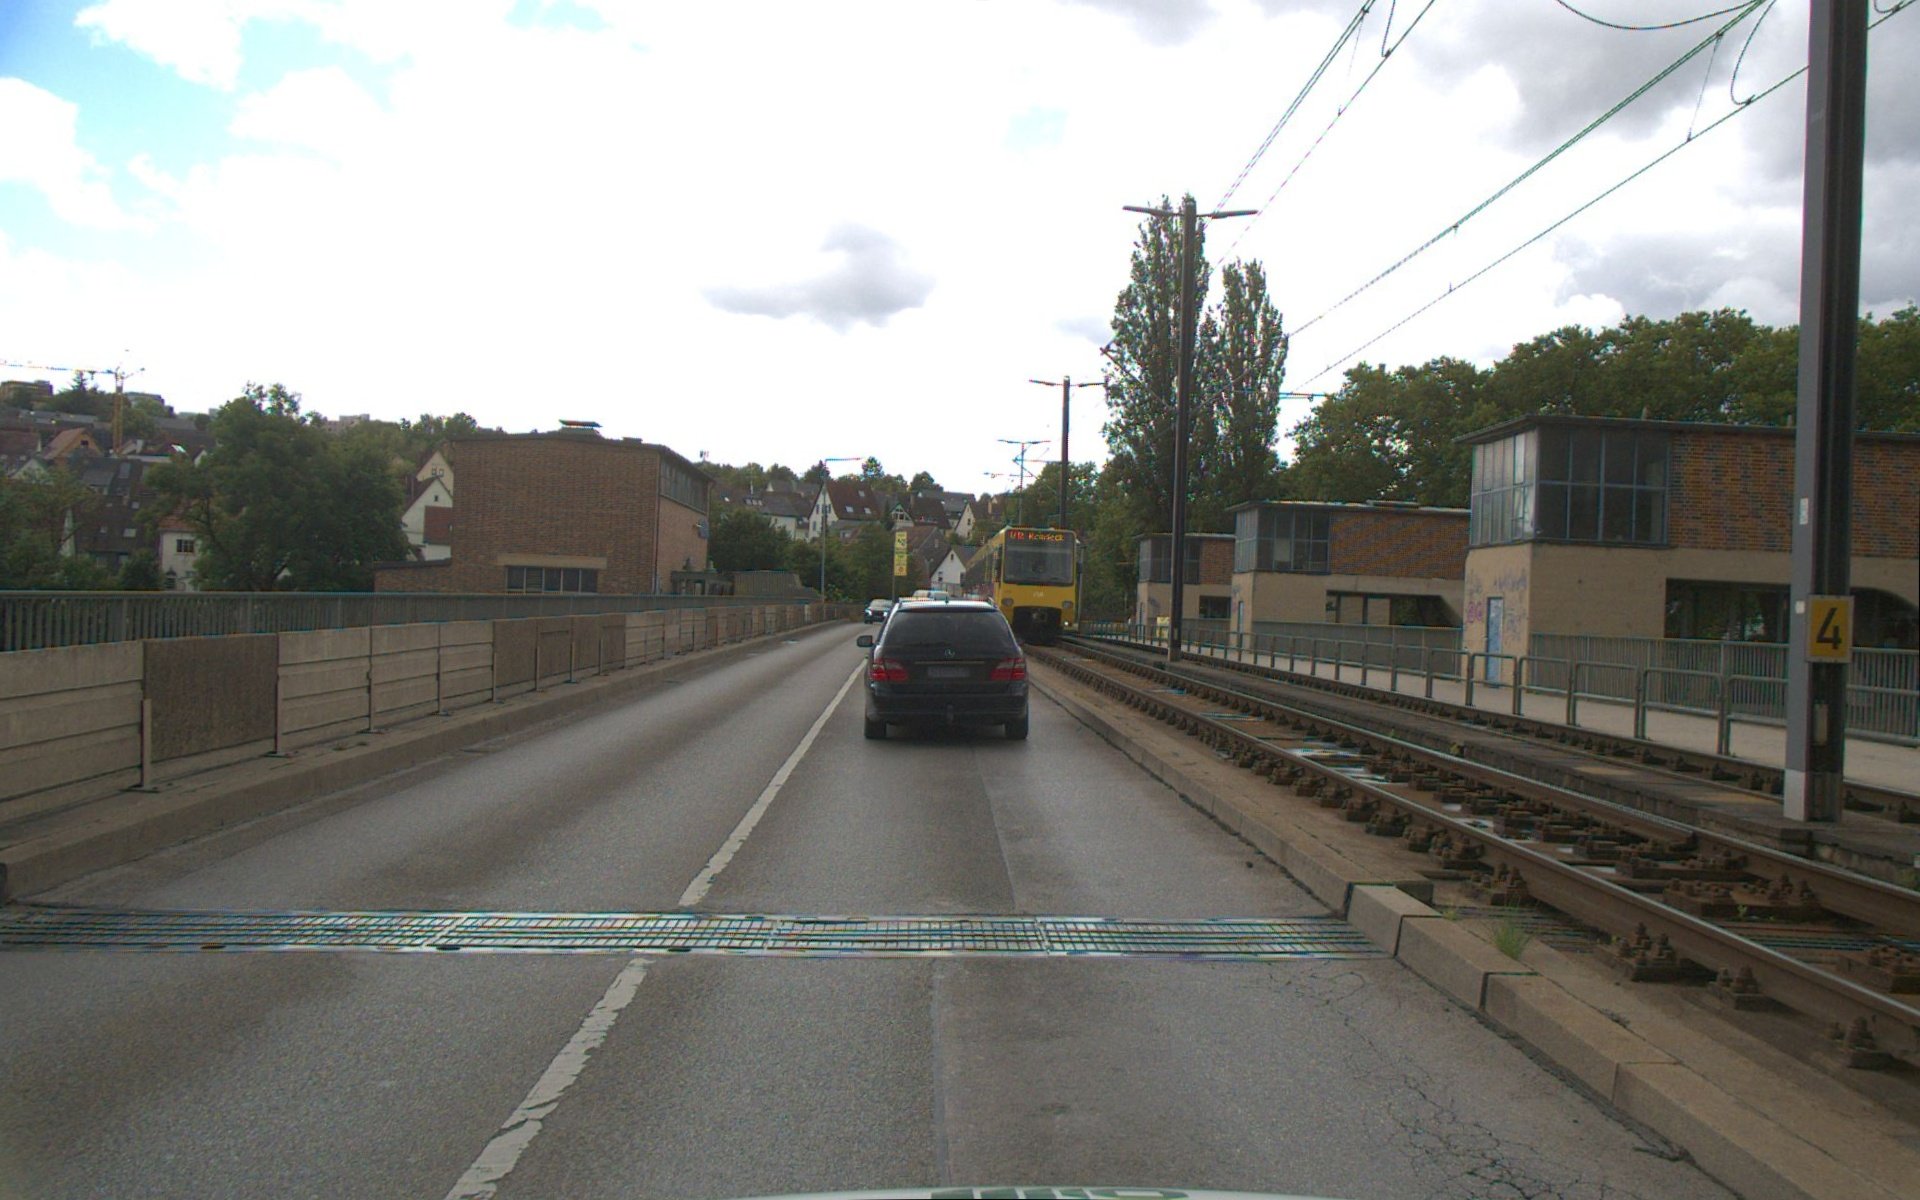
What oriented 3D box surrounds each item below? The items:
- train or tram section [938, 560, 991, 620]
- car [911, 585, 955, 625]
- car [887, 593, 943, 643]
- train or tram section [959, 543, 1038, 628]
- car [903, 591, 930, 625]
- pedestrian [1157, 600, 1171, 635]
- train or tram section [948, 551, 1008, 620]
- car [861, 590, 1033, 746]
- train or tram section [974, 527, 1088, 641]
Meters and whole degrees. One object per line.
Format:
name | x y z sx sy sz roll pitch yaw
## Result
train or tram section | 0.154 -0.618 119.427 2.737 3.830 19.881 2 0 -3
car | -1.128 0.209 70.614 1.756 1.582 4.384 2 0 -1
car | -1.542 0.566 55.844 1.735 1.582 4.238 1 0 -3
train or tram section | 1.659 -0.642 80.285 2.773 3.643 18.659 0 0 -2
car | -3.446 0.598 130.812 1.992 2.606 7.005 1 1 -2
pedestrian | 9.655 0.811 78.273 0.565 1.638 0.612 1 0 -1
train or tram section | 0.898 -0.707 99.530 2.728 3.720 19.883 0 0 -2
car | -0.123 0.676 18.884 1.723 1.542 4.442 0 0 0
train or tram section | 2.328 -0.547 61.582 2.824 3.571 18.659 0 0 -2
